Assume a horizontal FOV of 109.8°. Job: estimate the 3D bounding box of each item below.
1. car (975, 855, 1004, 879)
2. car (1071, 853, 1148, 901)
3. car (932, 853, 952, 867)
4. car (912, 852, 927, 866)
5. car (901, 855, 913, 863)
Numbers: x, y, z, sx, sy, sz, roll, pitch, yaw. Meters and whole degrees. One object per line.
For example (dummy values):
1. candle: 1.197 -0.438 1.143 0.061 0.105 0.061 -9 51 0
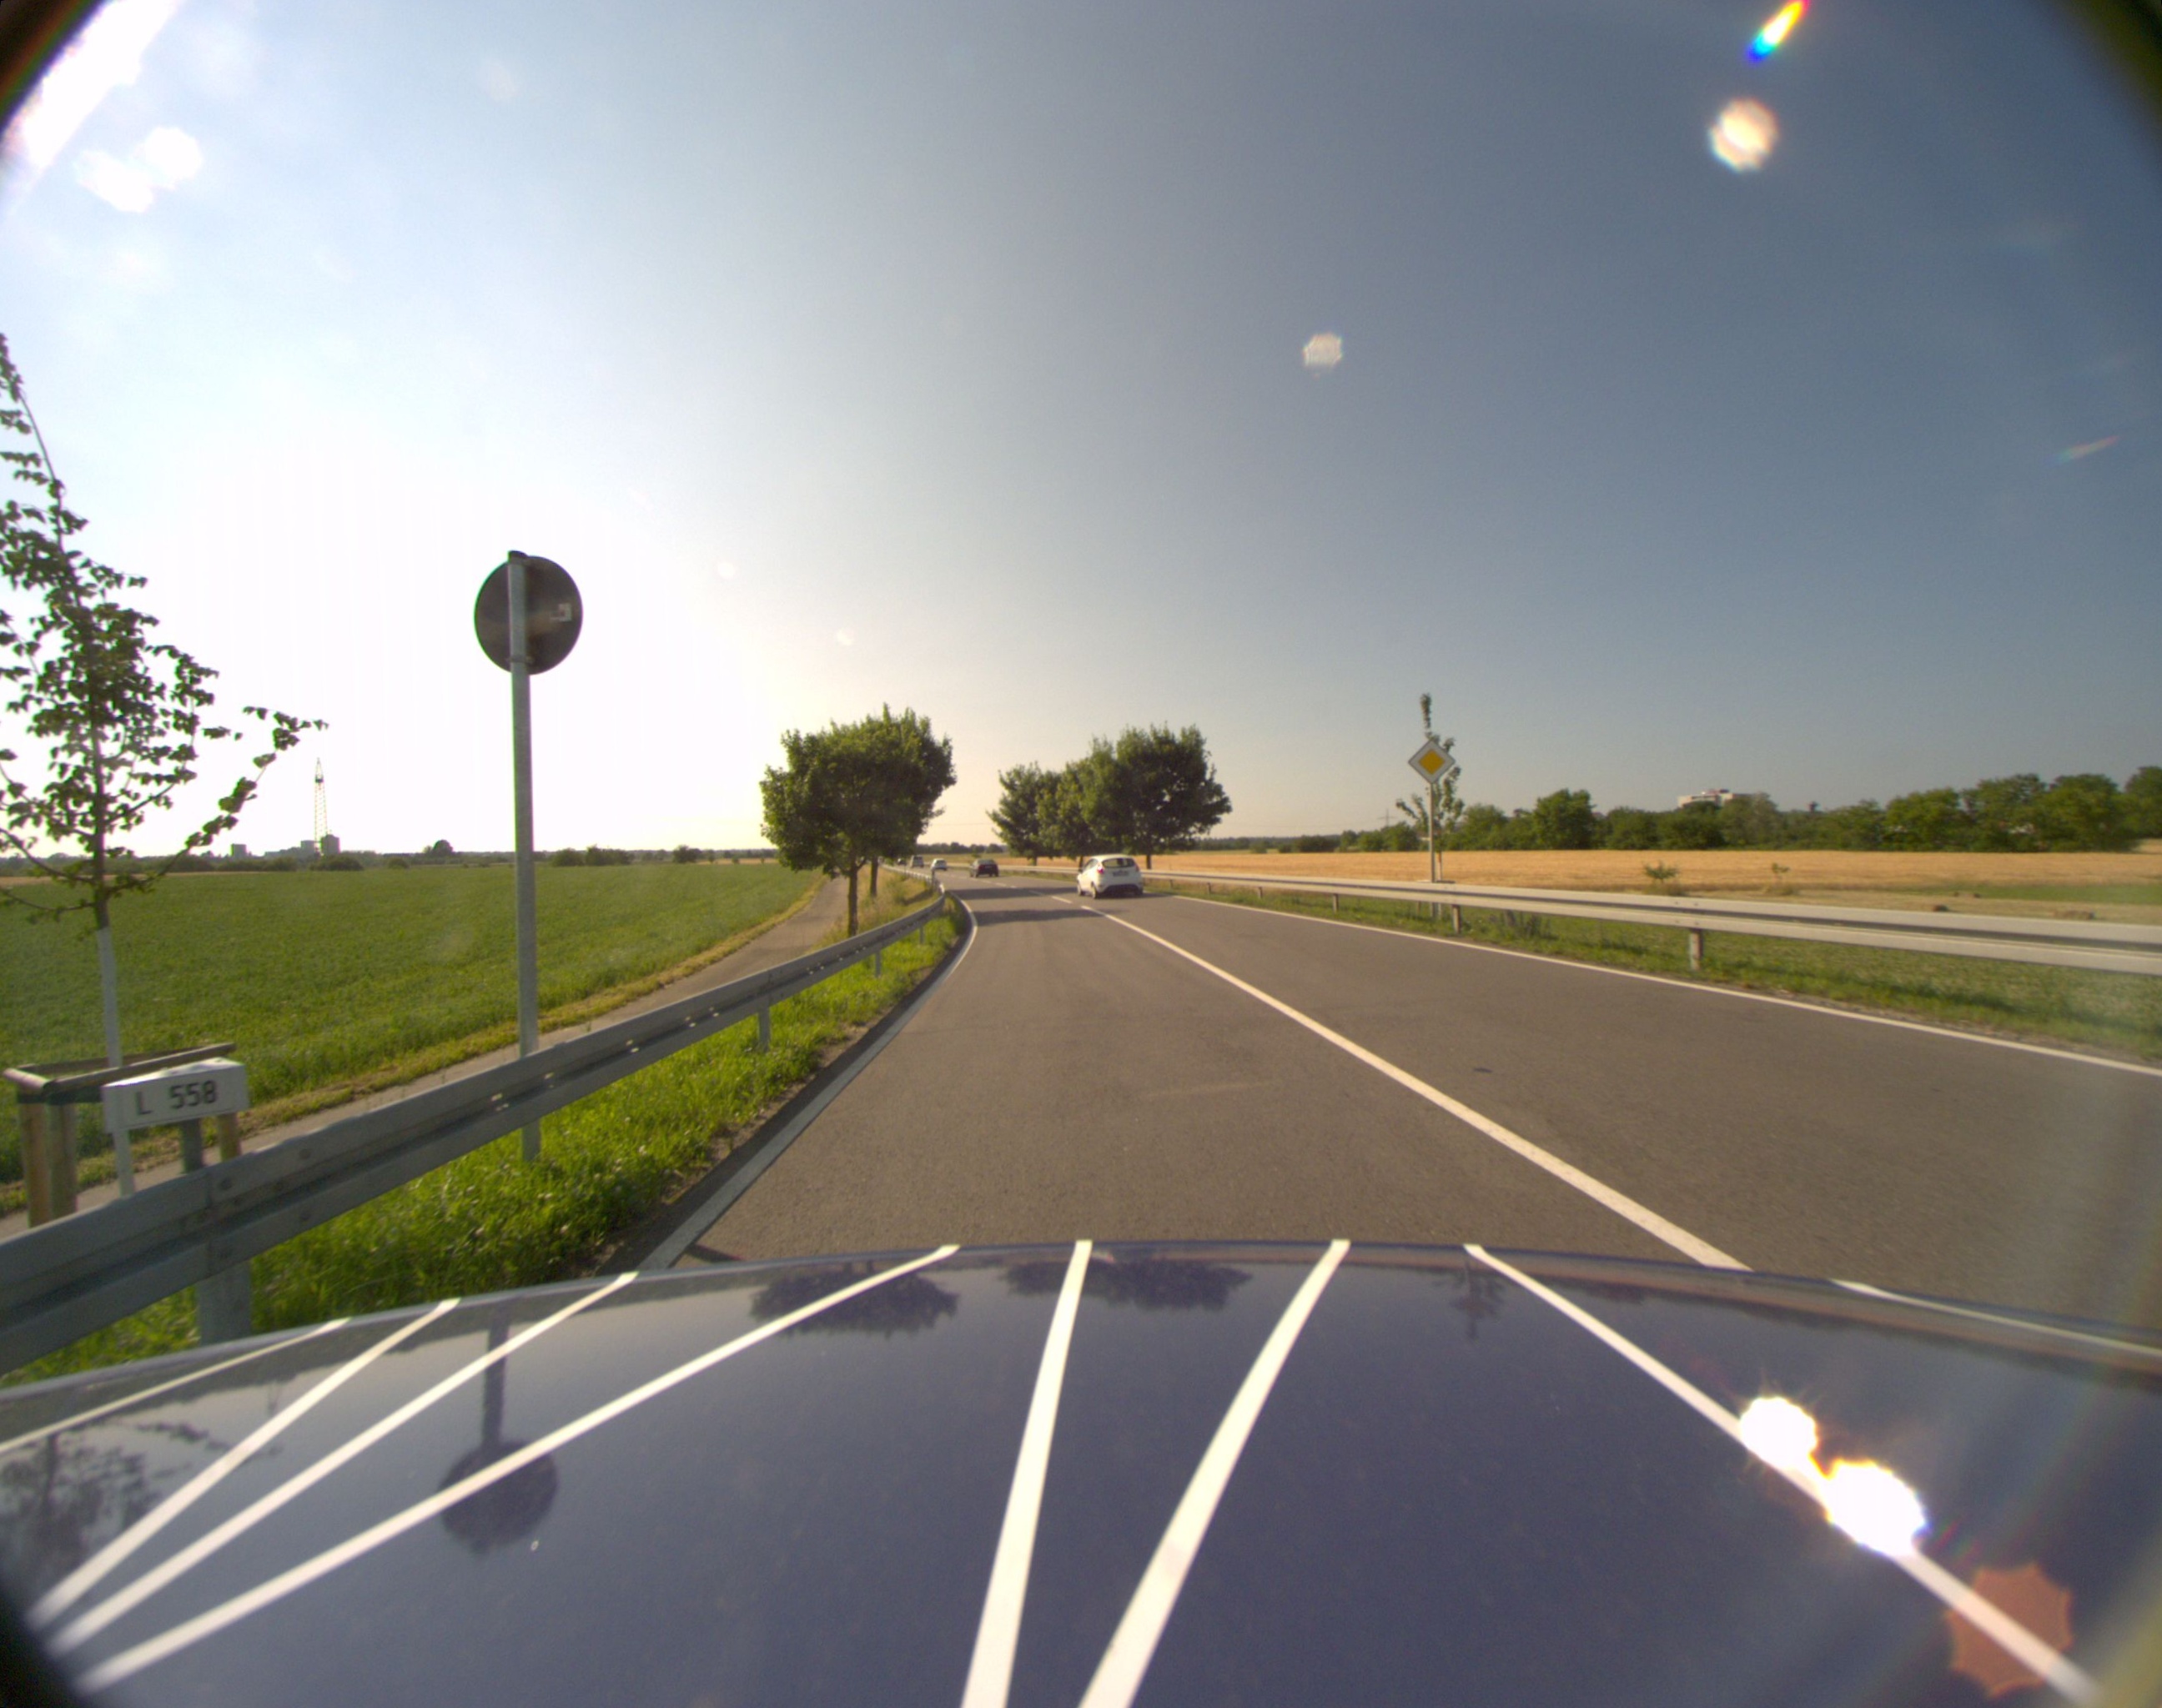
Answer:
1. car: -7.208 0.977 59.719 1.844 1.535 4.239 -4 2 -12
2. car: 0.925 0.747 27.064 1.859 1.440 4.149 -4 1 -10
3. car: -16.671 0.719 90.810 1.758 1.421 3.839 -3 2 -18
4. car: -25.412 0.826 119.714 1.919 2.002 4.775 -3 2 -16
5. car: -35.344 1.026 153.984 2.017 1.576 4.819 -2 2 -17
